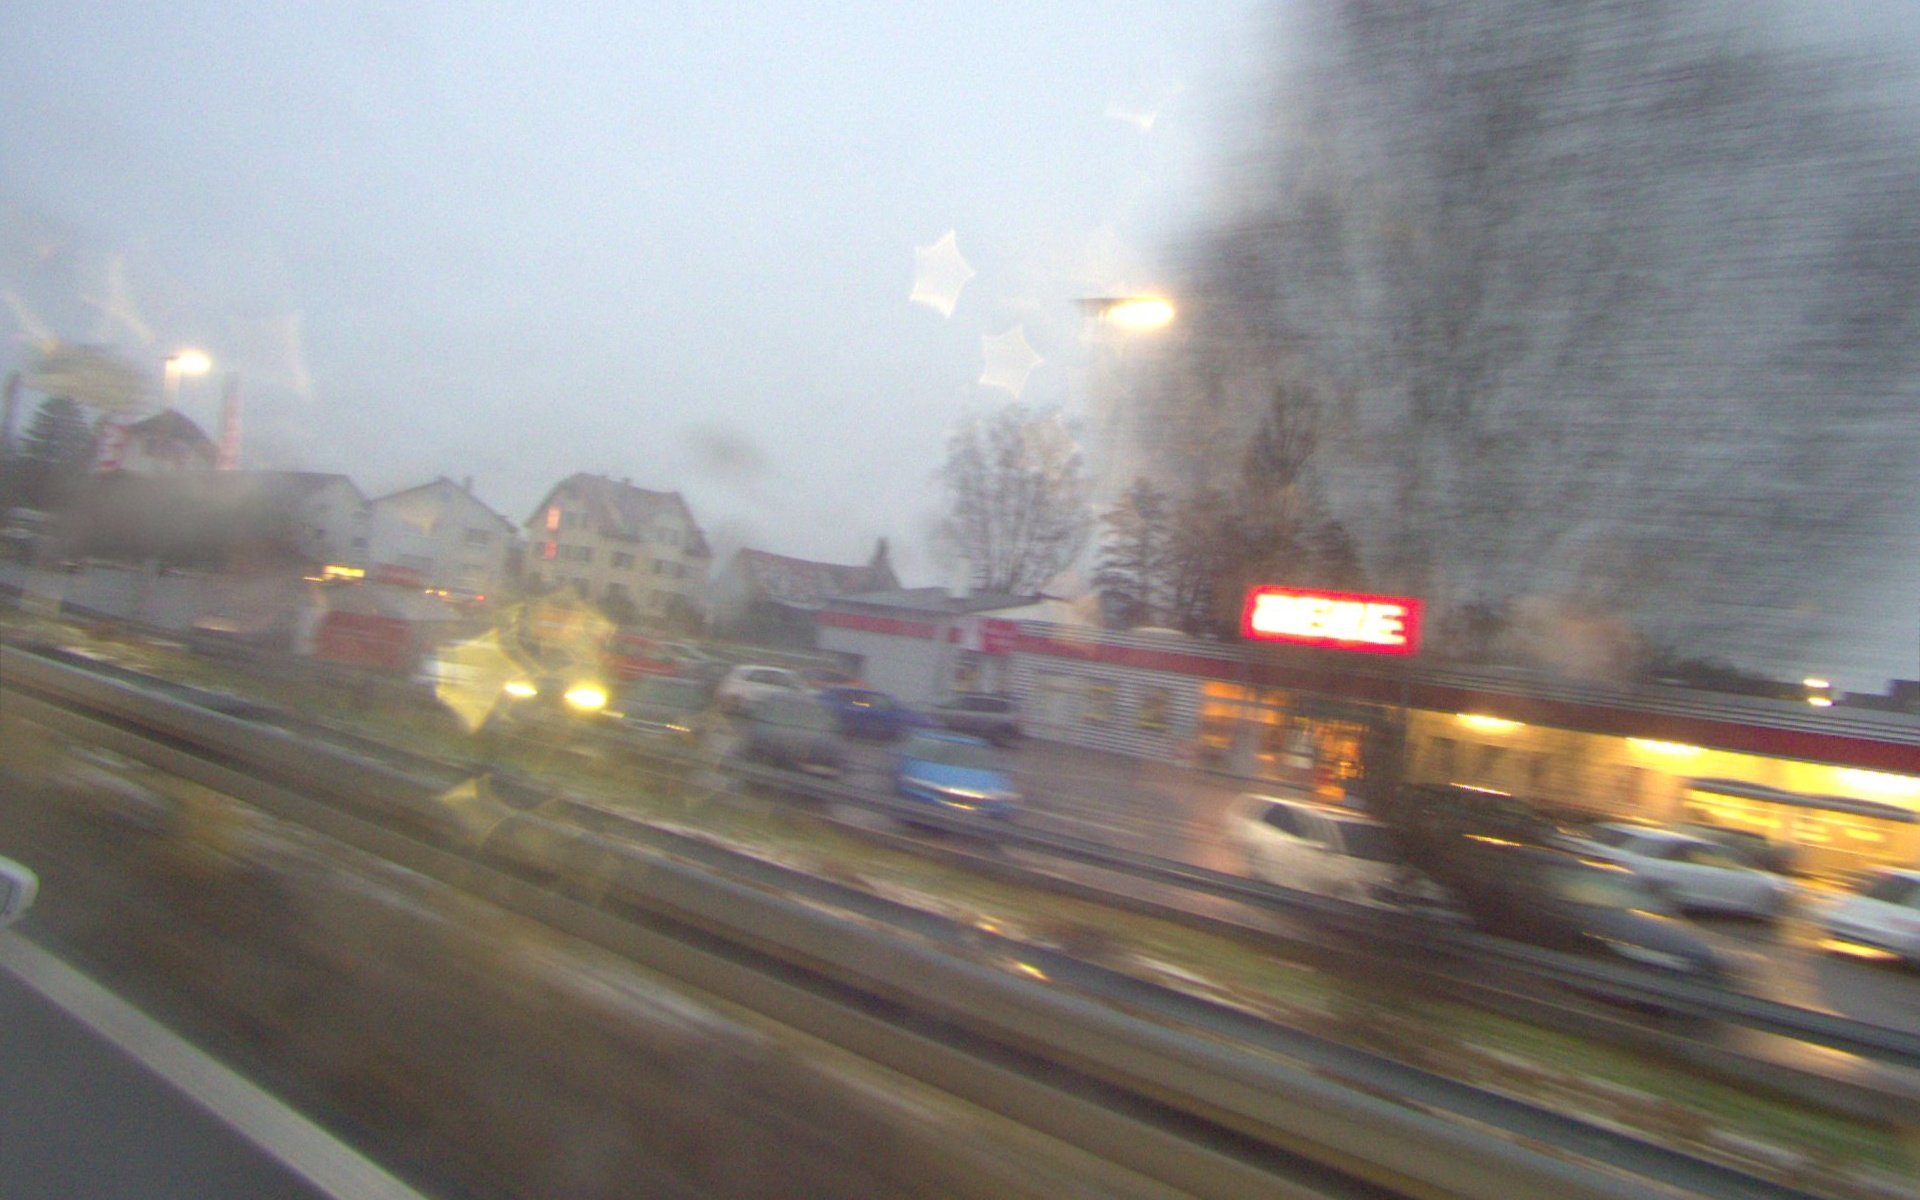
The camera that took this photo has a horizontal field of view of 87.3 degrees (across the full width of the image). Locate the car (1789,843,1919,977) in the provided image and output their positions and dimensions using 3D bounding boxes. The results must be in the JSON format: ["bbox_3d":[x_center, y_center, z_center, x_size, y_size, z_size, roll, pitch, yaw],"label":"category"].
[{"bbox_3d":[16.793,5.403,17.186,4.406,1.657,1.821,10,-2,-17],"label":"car"}]

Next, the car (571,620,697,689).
[{"bbox_3d":[-11.648,1.959,36.164,3.972,1.890,1.719,8,-1,-13],"label":"car"}]

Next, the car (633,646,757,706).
[{"bbox_3d":[-8.915,2.556,34.059,3.695,1.446,1.569,8,-1,-5],"label":"car"}]

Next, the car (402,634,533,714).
[{"bbox_3d":[-11.652,1.700,24.082,1.768,1.455,3.992,8,-2,-13],"label":"car"}]

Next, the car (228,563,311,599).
[{"bbox_3d":[-43.120,-1.204,62.896,3.958,1.681,1.929,9,-2,-30],"label":"car"}]

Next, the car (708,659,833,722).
[{"bbox_3d":[-6.013,2.880,32.138,3.698,1.446,1.567,8,-1,-9],"label":"car"}]

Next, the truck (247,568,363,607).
[{"bbox_3d":[-39.885,-0.749,61.457,5.728,1.565,1.929,9,-2,-30],"label":"truck"}]

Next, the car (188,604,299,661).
[{"bbox_3d":[-20.237,0.883,28.553,1.369,1.328,3.201,8,-2,-14],"label":"car"}]

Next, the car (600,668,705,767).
[{"bbox_3d":[-6.219,2.327,20.731,1.606,1.436,3.992,8,-2,-12],"label":"car"}]

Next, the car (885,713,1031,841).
[{"bbox_3d":[-0.176,3.052,18.018,1.872,1.413,4.175,7,-2,-9],"label":"car"}]

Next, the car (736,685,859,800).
[{"bbox_3d":[-3.081,2.610,19.251,1.898,1.471,4.584,7,-2,-9],"label":"car"}]

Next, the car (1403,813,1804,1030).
[{"bbox_3d":[7.951,3.955,12.995,1.822,1.413,4.171,8,-2,-13],"label":"car"}]

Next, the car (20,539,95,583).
[{"bbox_3d":[-42.074,-1.836,46.873,3.942,1.565,1.936,6,-2,40],"label":"car"}]

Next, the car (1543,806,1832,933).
[{"bbox_3d":[13.739,5.080,19.083,4.470,1.552,1.803,8,-2,-12],"label":"car"}]

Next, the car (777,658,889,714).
[{"bbox_3d":[-4.761,3.218,37.770,3.785,1.517,1.563,9,-2,-19],"label":"car"}]

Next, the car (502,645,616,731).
[{"bbox_3d":[-8.873,1.892,22.564,1.606,1.436,3.992,8,-2,-12],"label":"car"}]

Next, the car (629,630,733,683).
[{"bbox_3d":[-11.444,2.303,41.411,3.775,1.626,1.621,8,-1,-9],"label":"car"}]

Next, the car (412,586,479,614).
[{"bbox_3d":[-36.745,-0.001,71.946,3.948,1.533,1.903,8,-2,-23],"label":"car"}]

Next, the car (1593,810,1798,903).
[{"bbox_3d":[16.440,5.726,22.550,3.572,1.362,1.598,8,-2,-10],"label":"car"}]

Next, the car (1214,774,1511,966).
[{"bbox_3d":[5.507,3.699,14.576,1.871,1.413,4.702,7,-2,-6],"label":"car"}]

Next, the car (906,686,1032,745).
[{"bbox_3d":[0.278,3.833,33.385,3.780,1.367,1.565,8,-2,-14],"label":"car"}]

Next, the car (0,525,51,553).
[{"bbox_3d":[-61.695,-4.002,66.127,1.894,1.503,3.972,8,-2,-29],"label":"car"}]

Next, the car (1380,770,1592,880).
[{"bbox_3d":[11.098,4.744,21.362,3.569,1.603,1.599,8,-2,-6],"label":"car"}]

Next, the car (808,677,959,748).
[{"bbox_3d":[-2.329,3.356,30.195,4.246,1.441,1.743,8,-2,-11],"label":"car"}]

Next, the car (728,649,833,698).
[{"bbox_3d":[-7.129,2.919,39.970,3.785,1.409,1.563,9,-2,-19],"label":"car"}]

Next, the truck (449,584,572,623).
[{"bbox_3d":[-35.178,0.271,78.900,8.566,1.836,2.399,9,-2,-28],"label":"truck"}]
